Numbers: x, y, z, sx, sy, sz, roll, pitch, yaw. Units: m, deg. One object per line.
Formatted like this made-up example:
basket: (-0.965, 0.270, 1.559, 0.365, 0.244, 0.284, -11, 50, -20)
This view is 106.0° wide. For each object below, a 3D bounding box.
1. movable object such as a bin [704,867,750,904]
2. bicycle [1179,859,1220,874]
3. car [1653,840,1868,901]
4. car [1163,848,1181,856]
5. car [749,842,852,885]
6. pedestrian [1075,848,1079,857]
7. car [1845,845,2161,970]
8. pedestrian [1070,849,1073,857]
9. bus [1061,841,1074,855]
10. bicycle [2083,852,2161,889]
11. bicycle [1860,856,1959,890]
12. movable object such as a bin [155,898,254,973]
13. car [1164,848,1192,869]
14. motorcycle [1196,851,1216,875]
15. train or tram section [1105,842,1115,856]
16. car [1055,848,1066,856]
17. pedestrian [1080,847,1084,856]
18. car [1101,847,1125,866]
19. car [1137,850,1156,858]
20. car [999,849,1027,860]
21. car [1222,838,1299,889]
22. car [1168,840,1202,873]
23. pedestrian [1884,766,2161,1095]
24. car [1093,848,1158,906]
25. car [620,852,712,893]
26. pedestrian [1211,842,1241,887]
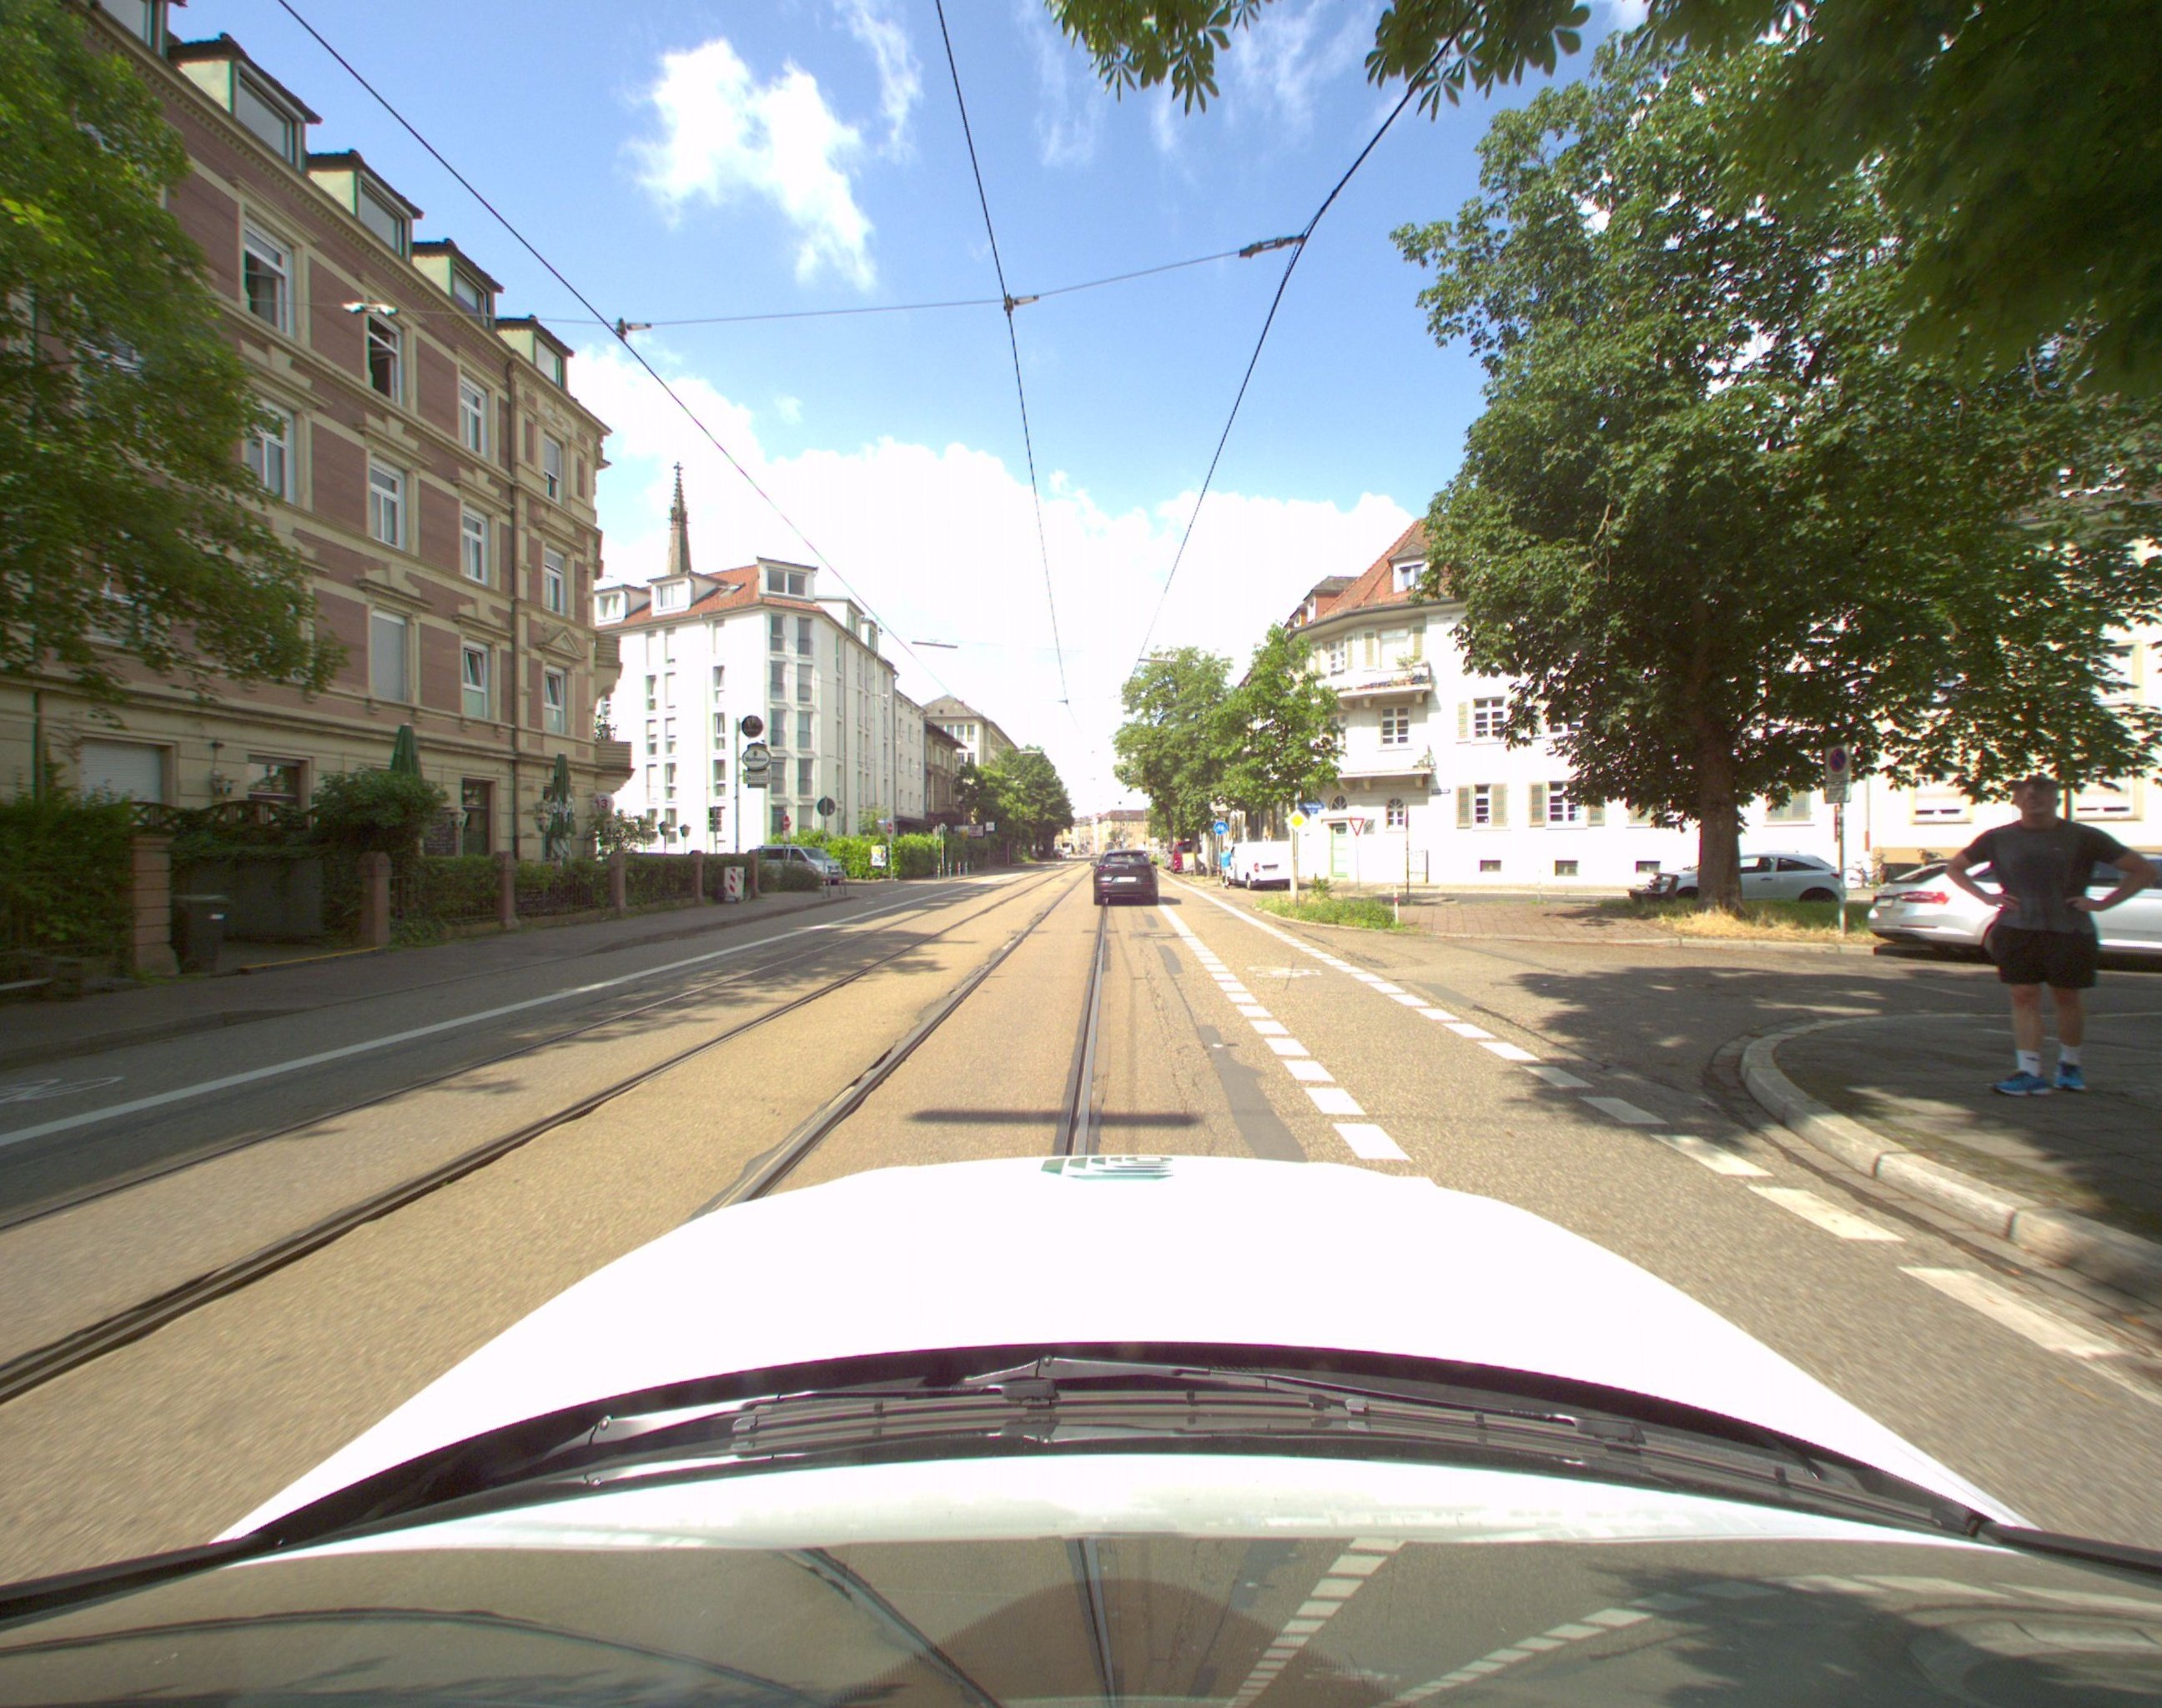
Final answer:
movable object such as a bin: (-10.026, 0.889, 23.095, 0.742, 0.988, 1.115, 2, 0, 2)
bicycle: (6.855, 0.719, 47.072, 2.267, 0.861, 0.672, 0, 0, 0)
car: (17.065, 0.404, 20.722, 3.949, 1.411, 1.662, 0, -1, 30)
car: (21.647, -0.509, 193.550, 3.829, 1.618, 1.622, 2, 0, -29)
car: (-13.998, 0.455, 40.646, 4.620, 2.013, 2.058, 0, 0, 24)
pedestrian: (-0.865, -0.415, 189.278, 0.882, 2.013, 0.617, 0, 0, -2)
car: (13.091, 0.635, 10.405, 4.516, 1.476, 1.880, 0, -1, 29)
pedestrian: (-1.935, -0.229, 165.010, 0.749, 1.510, 0.823, 0, 0, -3)
bus: (-3.527, -1.507, 210.883, 2.683, 3.421, 11.002, 2, 0, -4)
bicycle: (30.063, 0.455, 23.067, 2.108, 1.034, 0.540, 0, 0, 23)
bicycle: (25.792, 0.576, 25.398, 2.108, 1.034, 0.540, 0, 0, 23)
movable object such as a bin: (-10.939, 1.002, 10.182, 0.560, 0.876, 0.616, 0, 0, 2)
car: (6.945, 0.300, 58.688, 1.714, 1.424, 3.591, 0, 0, 2)
motorcycle: (6.718, 0.454, 43.798, 0.791, 1.271, 2.423, 0, 0, 2)
train or tram section: (8.063, -1.380, 227.396, 2.561, 3.772, 13.035, -1, 0, 3)
car: (-4.258, -0.344, 166.759, 1.914, 1.610, 3.939, 2, 0, 3)
pedestrian: (0.157, -0.502, 189.251, 0.882, 2.013, 0.617, 0, 0, -2)
car: (2.706, 0.218, 69.299, 1.986, 1.529, 4.002, 2, 0, 2)
car: (14.178, -0.036, 175.772, 3.814, 1.618, 1.629, 2, 0, -16)
car: (-9.220, 0.059, 110.498, 3.737, 1.287, 1.609, 2, 0, -2)
car: (7.372, 0.346, 33.911, 1.783, 1.938, 4.984, -1, 1, -4)
car: (6.439, 0.114, 50.776, 1.714, 1.968, 4.210, 0, 0, 3)
pedestrian: (5.709, 0.433, 5.006, 0.608, 1.836, 0.878, -1, -2, 0)
car: (1.232, 0.586, 23.366, 1.714, 1.526, 3.591, 0, 0, 2)
car: (-16.687, 0.705, 32.867, 1.377, 1.567, 3.201, 0, 0, 21)
pedestrian: (6.010, 0.437, 33.811, 0.964, 1.835, 0.810, 0, 1, -27)
